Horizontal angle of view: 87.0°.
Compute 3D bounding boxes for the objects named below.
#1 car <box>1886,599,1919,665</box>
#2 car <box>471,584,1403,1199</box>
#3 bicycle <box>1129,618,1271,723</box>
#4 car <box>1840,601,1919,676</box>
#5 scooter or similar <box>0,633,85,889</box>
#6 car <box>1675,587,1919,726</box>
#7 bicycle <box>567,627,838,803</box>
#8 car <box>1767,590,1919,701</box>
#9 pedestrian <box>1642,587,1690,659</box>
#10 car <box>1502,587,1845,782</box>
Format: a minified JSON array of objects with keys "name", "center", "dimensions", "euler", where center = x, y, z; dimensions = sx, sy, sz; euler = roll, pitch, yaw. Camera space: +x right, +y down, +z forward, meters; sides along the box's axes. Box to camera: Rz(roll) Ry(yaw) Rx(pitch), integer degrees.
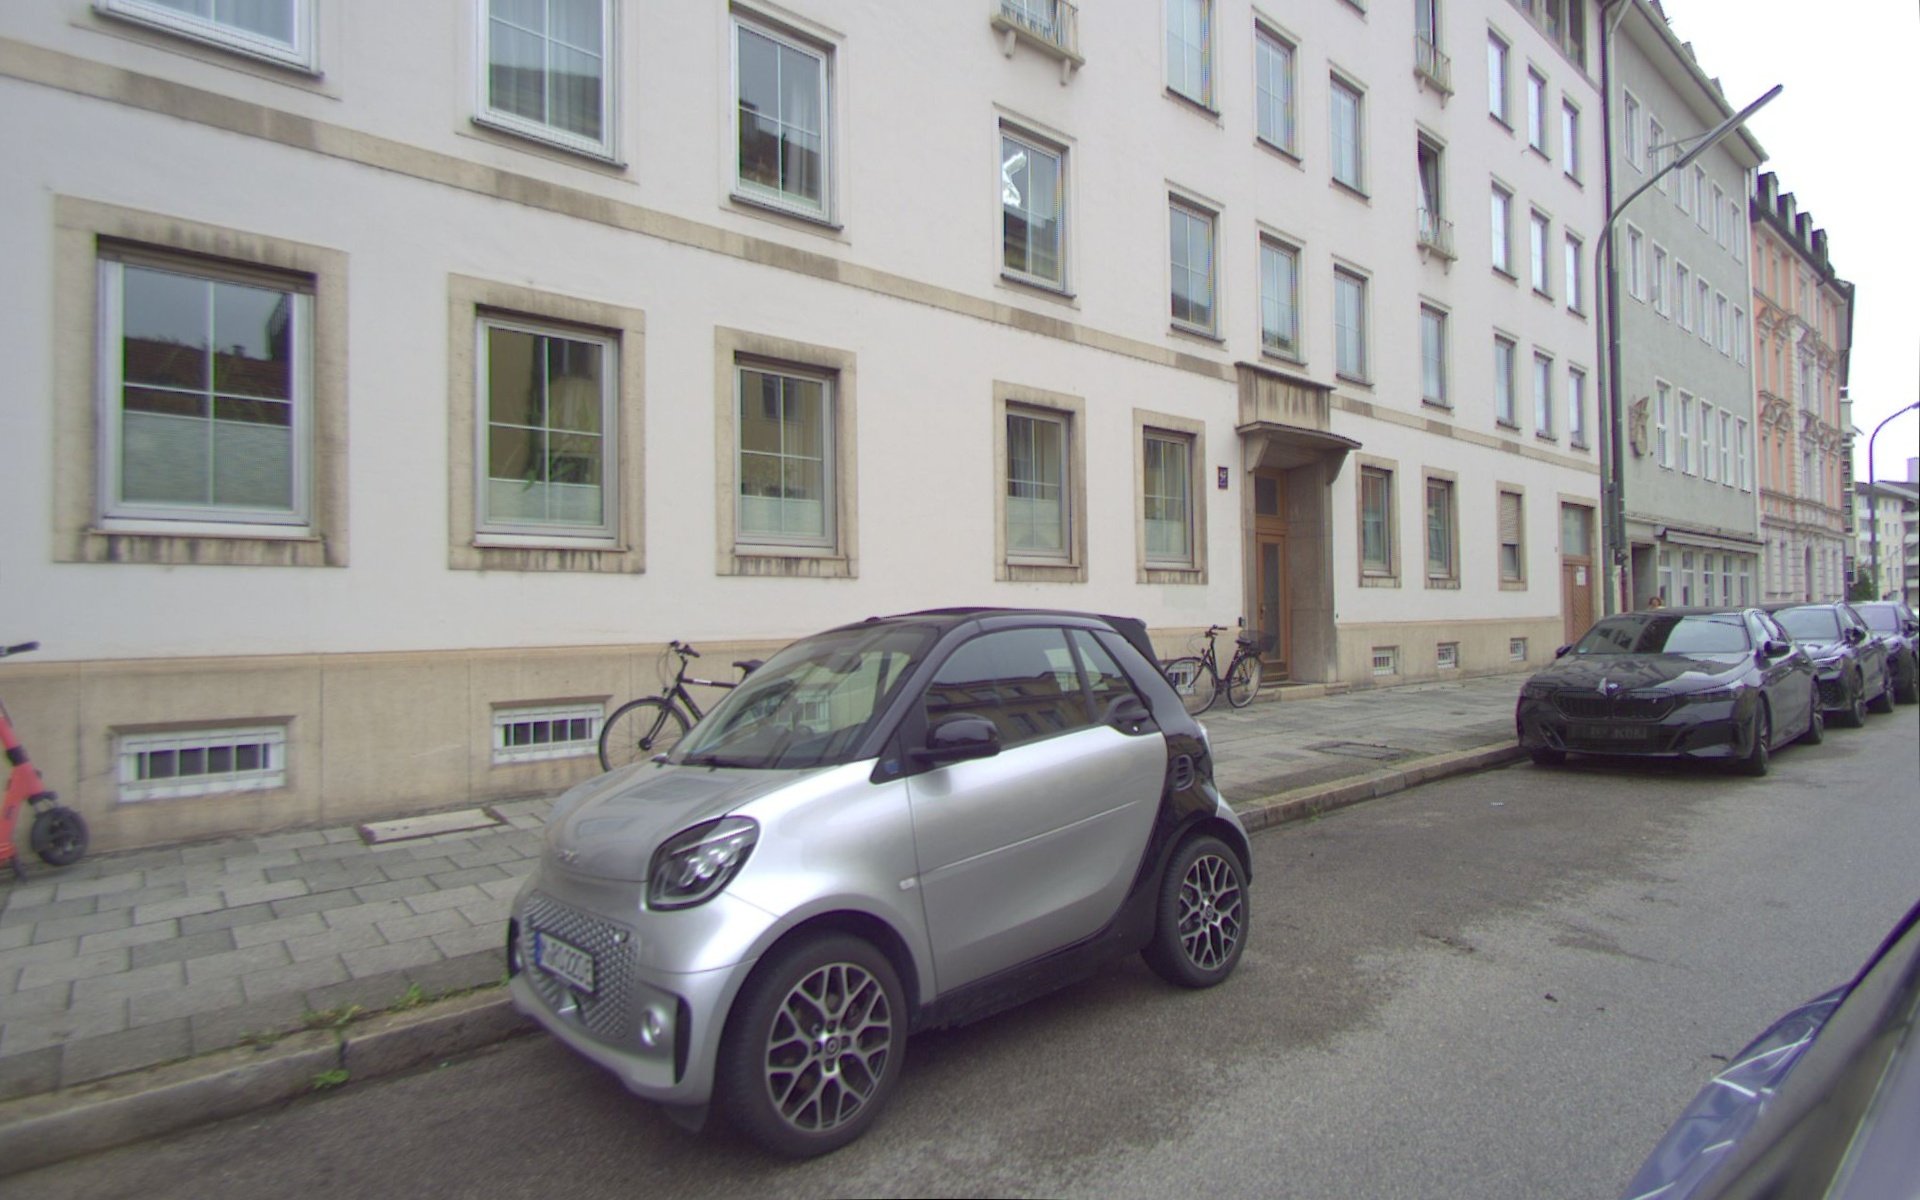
[{"name":"car","center":[25.006,0.762,25.805],"dimensions":[4.014,1.604,1.693],"euler":[0,-3,-43]},{"name":"car","center":[0.159,0.789,4.386],"dimensions":[3.813,1.555,1.674],"euler":[0,-4,-41]},{"name":"bicycle","center":[2.961,0.816,12.374],"dimensions":[1.993,1.140,0.660],"euler":[0,0,-41]},{"name":"car","center":[20.458,0.780,21.724],"dimensions":[4.011,1.483,1.694],"euler":[0,-3,-40]},{"name":"scooter or similar","center":[-5.279,0.854,5.224],"dimensions":[0.598,1.267,1.024],"euler":[0,3,41]},{"name":"car","center":[11.469,0.695,13.776],"dimensions":[4.196,1.605,1.781],"euler":[0,-3,-40]},{"name":"bicycle","center":[-1.977,0.830,7.988],"dimensions":[1.993,1.178,0.660],"euler":[0,0,-41]},{"name":"car","center":[15.097,0.704,16.765],"dimensions":[4.252,1.605,1.781],"euler":[0,-3,-39]},{"name":"pedestrian","center":[16.543,0.531,23.707],"dimensions":[0.813,1.646,0.735],"euler":[0,0,-40]},{"name":"car","center":[7.496,0.711,10.425],"dimensions":[4.734,1.564,1.857],"euler":[0,-3,-43]}]
